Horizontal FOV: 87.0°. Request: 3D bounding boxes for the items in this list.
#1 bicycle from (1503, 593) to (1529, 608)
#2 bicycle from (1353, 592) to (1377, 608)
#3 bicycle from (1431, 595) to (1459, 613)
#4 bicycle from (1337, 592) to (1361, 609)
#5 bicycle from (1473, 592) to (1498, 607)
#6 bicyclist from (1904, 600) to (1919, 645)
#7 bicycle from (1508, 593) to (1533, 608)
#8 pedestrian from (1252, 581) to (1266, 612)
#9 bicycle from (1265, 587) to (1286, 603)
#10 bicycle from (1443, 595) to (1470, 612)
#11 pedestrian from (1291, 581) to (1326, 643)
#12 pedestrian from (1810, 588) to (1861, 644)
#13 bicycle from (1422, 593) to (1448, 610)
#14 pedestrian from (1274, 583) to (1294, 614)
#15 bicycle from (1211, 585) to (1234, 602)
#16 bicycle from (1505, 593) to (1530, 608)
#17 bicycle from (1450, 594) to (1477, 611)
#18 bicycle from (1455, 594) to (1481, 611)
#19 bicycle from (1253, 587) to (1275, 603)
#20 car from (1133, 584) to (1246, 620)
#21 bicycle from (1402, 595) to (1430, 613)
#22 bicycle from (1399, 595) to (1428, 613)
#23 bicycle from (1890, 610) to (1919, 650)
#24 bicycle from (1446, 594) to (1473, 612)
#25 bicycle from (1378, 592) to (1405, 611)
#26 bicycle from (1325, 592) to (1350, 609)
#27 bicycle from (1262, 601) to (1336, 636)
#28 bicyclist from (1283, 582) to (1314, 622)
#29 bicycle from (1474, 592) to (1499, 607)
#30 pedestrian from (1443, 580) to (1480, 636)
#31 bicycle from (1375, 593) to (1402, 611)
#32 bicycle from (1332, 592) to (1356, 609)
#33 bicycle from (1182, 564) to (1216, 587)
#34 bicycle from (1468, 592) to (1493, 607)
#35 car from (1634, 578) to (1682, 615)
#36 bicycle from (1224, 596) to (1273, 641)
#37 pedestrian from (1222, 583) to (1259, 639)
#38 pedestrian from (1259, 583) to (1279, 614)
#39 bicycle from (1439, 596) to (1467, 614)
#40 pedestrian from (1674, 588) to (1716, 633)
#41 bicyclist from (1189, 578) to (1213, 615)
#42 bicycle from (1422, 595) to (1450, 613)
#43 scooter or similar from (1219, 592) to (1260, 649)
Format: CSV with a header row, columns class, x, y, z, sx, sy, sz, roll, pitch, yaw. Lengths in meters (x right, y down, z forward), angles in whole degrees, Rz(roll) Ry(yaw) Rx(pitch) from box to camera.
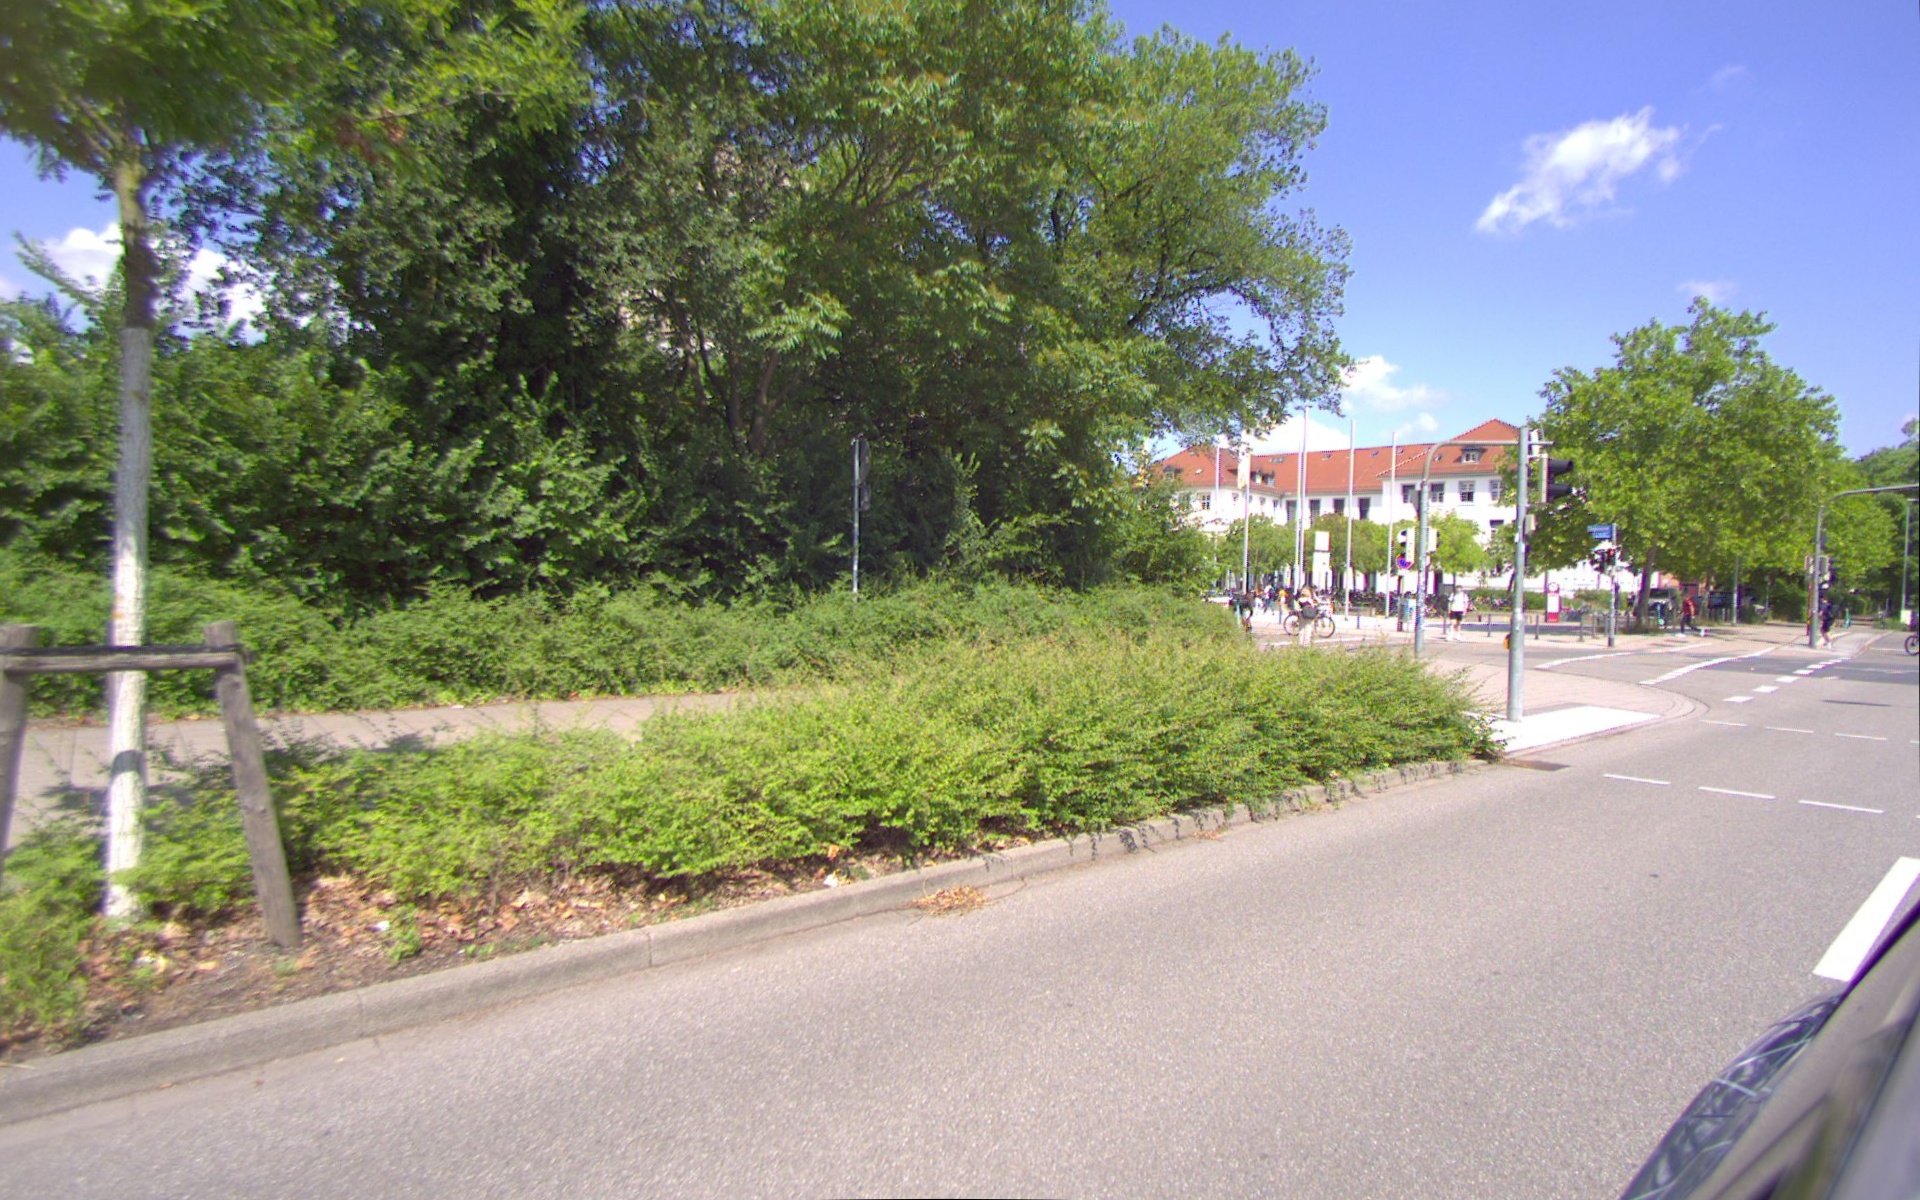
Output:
class,x,y,z,sx,sy,sz,roll,pitch,yaw
bicycle,36.433,0.031,66.336,1.424,0.963,0.347,2,1,43
bicycle,25.270,-0.023,63.145,1.366,0.963,0.347,2,1,40
bicycle,27.349,0.234,57.032,1.367,0.963,0.347,2,1,43
bicycle,23.206,0.001,60.388,0.346,0.963,1.371,1,1,-38
bicycle,35.286,-0.039,67.995,1.424,0.963,0.347,2,1,43
bicyclist,31.957,0.747,33.220,0.957,1.462,1.073,1,1,11
bicycle,37.168,0.016,67.123,1.424,0.963,0.347,2,1,43
pedestrian,15.728,-0.193,53.302,0.528,1.610,0.436,1,1,-5
bicycle,20.664,-0.333,66.340,0.346,0.963,1.371,1,1,-38
bicycle,28.959,0.194,59.006,1.367,0.963,0.347,2,1,43
pedestrian,9.420,0.327,27.349,0.632,1.646,0.636,1,1,-6
pedestrian,31.435,0.571,36.342,0.951,1.950,1.034,1,1,-21
bicycle,28.727,0.087,61.211,1.408,0.963,0.347,2,1,43
pedestrian,17.647,-0.101,55.135,0.670,1.642,0.837,0,1,-18
bicycle,16.976,-0.431,65.422,1.364,1.087,0.347,2,1,37
bicycle,36.749,0.023,66.736,1.424,0.963,0.347,2,1,43
bicycle,29.842,0.143,59.948,1.367,0.963,0.347,2,1,43
bicycle,30.240,0.139,60.243,1.367,0.963,0.347,2,1,43
bicycle,19.244,-0.310,64.175,0.346,0.963,1.371,1,1,-38
car,9.851,0.058,43.661,4.429,1.415,1.805,3,2,44
bicycle,25.287,0.200,56.145,1.367,0.958,0.347,2,1,43
bicycle,24.948,0.215,55.686,1.367,0.963,0.347,2,1,43
bicycle,31.993,1.003,33.407,0.872,1.267,2.158,1,1,12
bicycle,29.383,0.166,59.490,1.367,0.963,0.347,2,1,43
bicycle,24.805,0.096,58.152,1.367,1.013,0.347,2,1,43
bicycle,22.347,0.037,59.881,0.346,0.963,1.371,1,1,-38
bicycle,10.894,0.574,32.523,2.147,1.011,0.640,2,1,32
bicyclist,10.884,0.066,32.542,0.827,1.241,0.612,2,1,31
bicycle,35.547,-0.046,68.311,1.424,0.963,0.347,2,1,43
pedestrian,17.402,0.249,35.101,0.876,1.896,0.956,2,1,44
bicycle,24.460,0.110,57.790,1.367,1.013,0.347,2,1,43
bicycle,22.782,0.039,60.035,0.346,0.963,1.371,1,1,-38
bicycle,12.284,-1.289,52.106,0.676,1.148,2.059,1,1,-20
bicycle,34.764,-0.034,67.594,1.424,0.963,0.347,2,1,43
car,41.848,-0.205,60.643,1.991,2.080,4.168,2,1,39
bicycle,7.815,0.483,27.445,0.658,1.157,1.665,3,0,-6
pedestrian,7.545,0.295,27.238,0.643,1.434,0.789,3,1,-7
pedestrian,16.693,-0.101,54.729,0.670,1.642,0.837,0,1,-16
bicycle,27.960,0.264,57.391,1.367,0.963,0.347,2,1,43
pedestrian,27.368,0.373,37.706,1.052,1.617,0.964,1,1,23
bicyclist,12.343,-0.199,51.904,0.670,1.877,1.090,0,1,-19
bicycle,26.707,0.198,56.847,1.367,0.963,0.347,2,1,43
scooter or similar,6.527,0.457,23.651,0.428,1.249,1.232,3,1,-6
